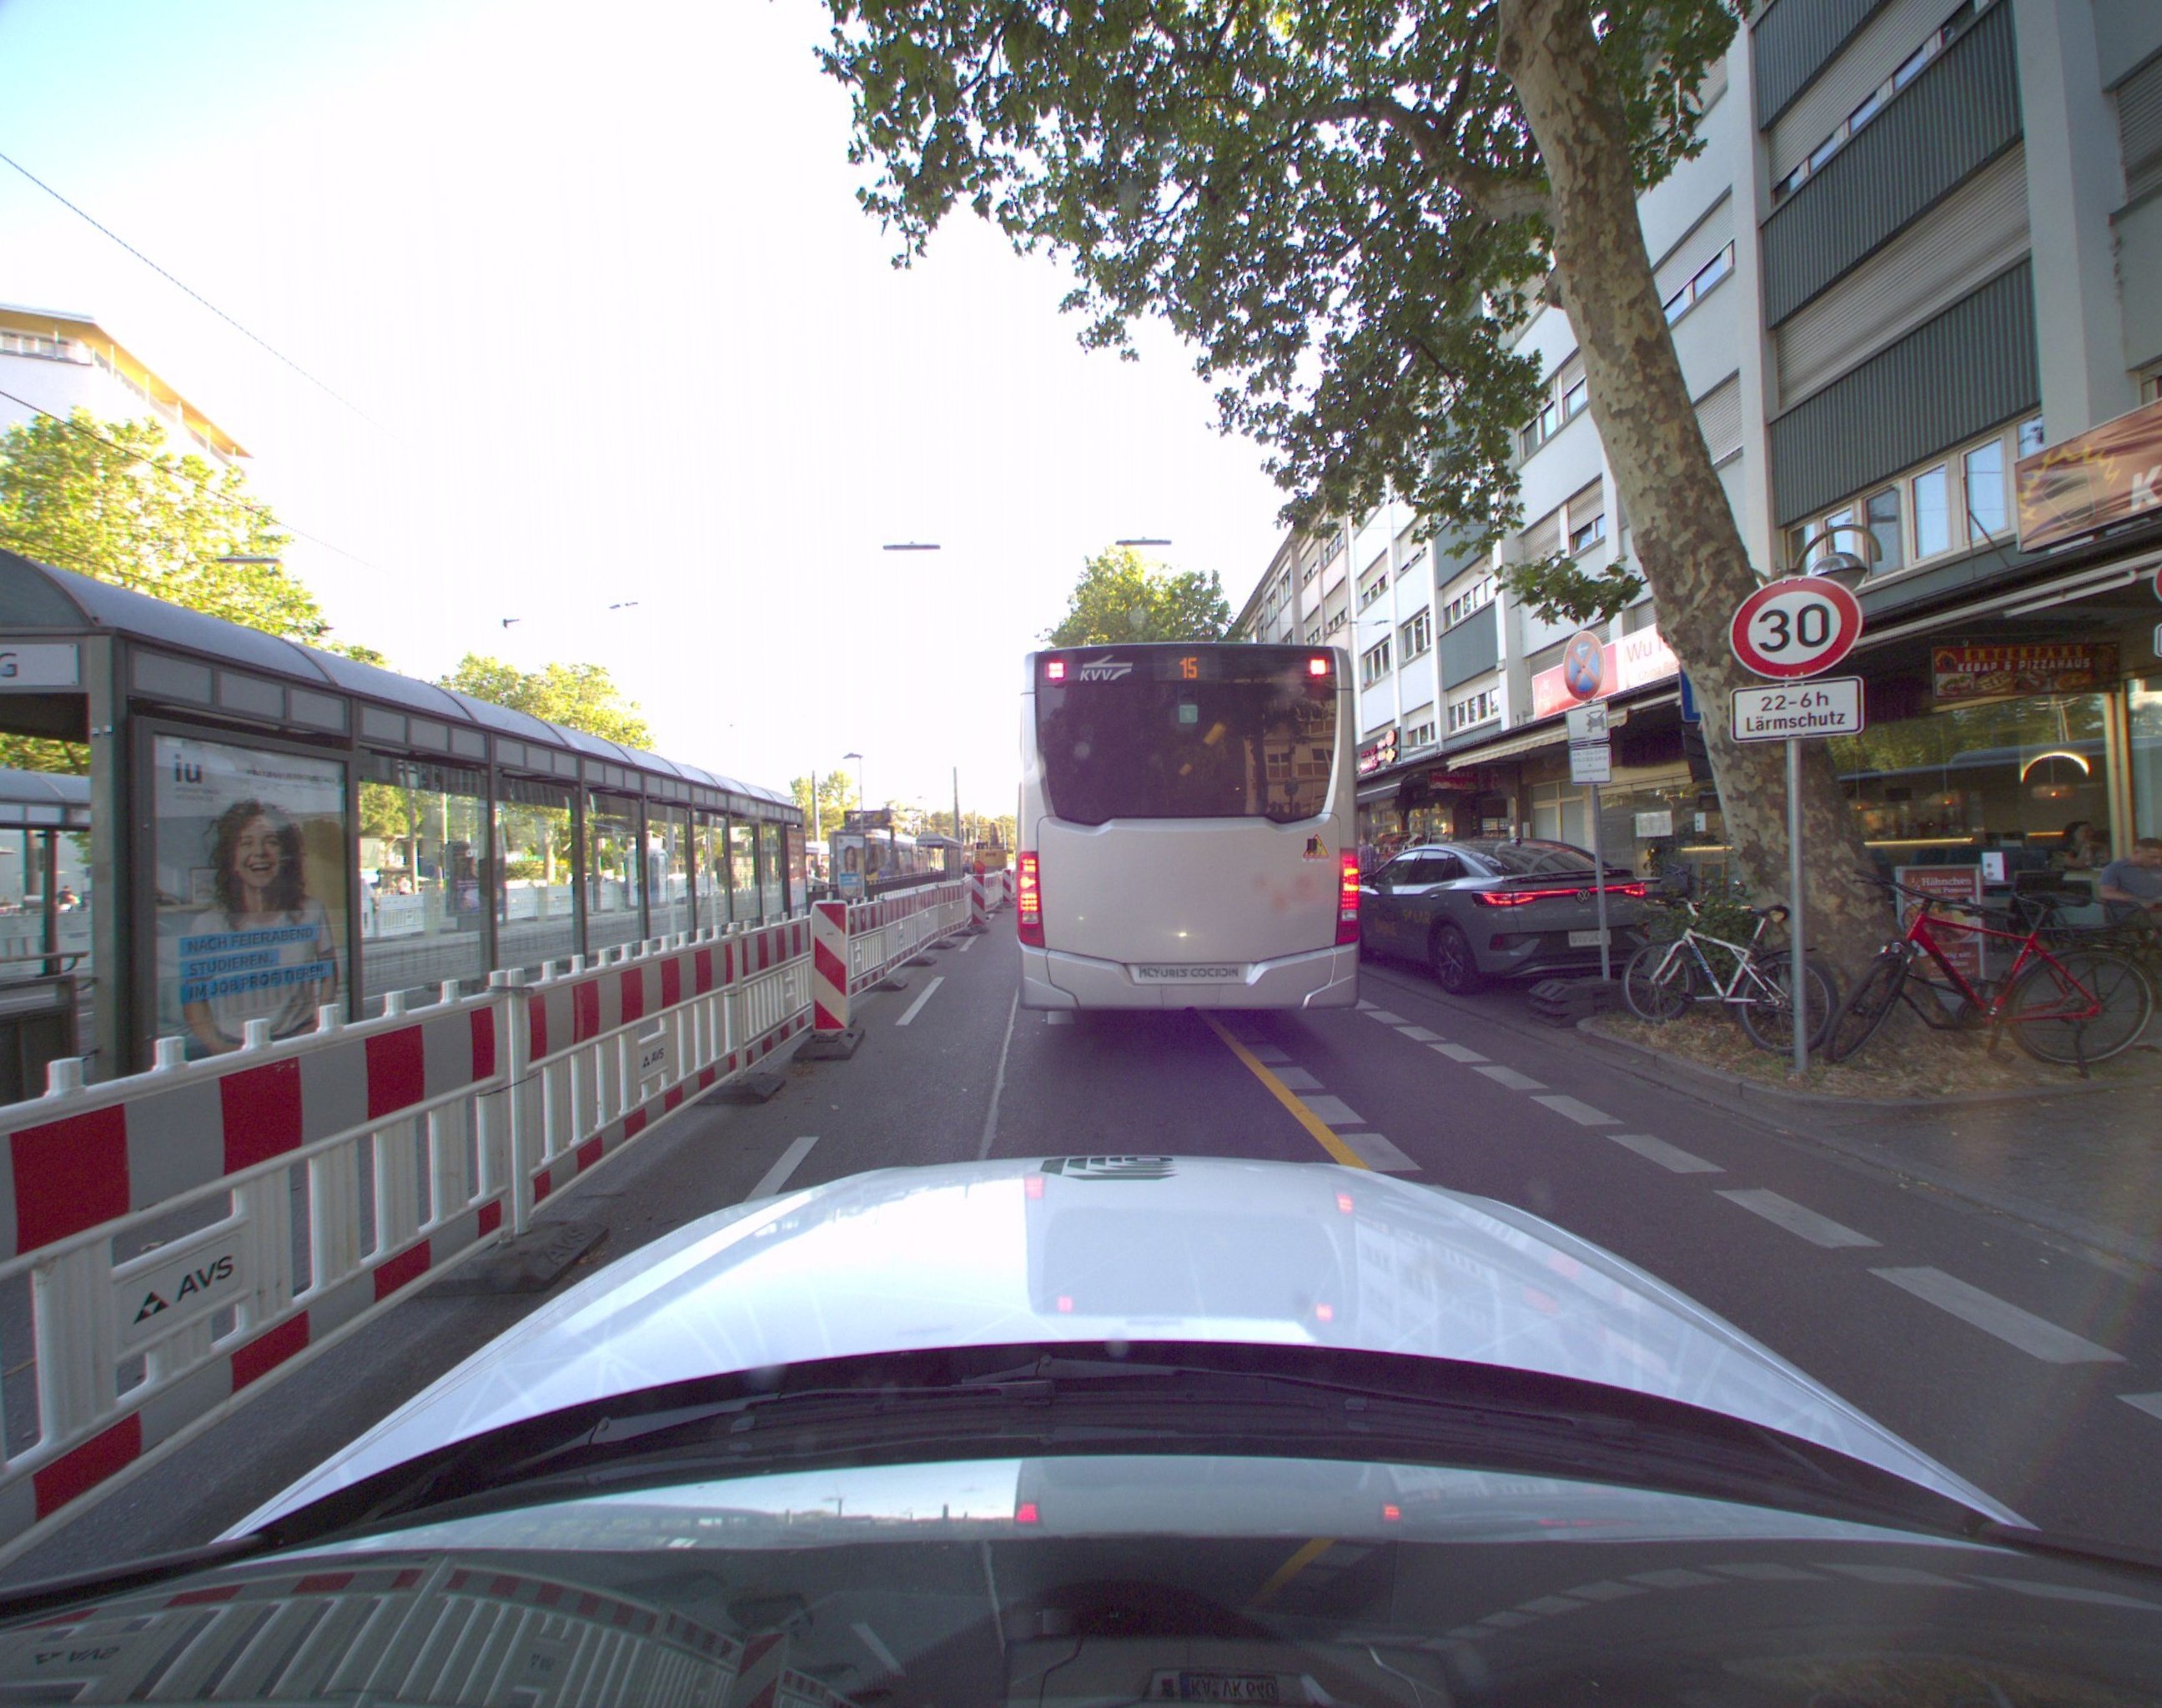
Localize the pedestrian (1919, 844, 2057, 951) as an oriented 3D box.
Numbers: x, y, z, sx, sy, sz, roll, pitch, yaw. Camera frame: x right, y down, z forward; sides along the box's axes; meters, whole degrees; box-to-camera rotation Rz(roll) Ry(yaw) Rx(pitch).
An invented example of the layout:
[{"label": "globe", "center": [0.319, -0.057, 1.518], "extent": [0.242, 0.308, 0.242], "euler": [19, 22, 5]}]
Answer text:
[{"label": "pedestrian", "center": [9.865, 0.449, 8.872], "extent": [0.643, 1.081, 0.945], "euler": [-2, -1, -39]}]

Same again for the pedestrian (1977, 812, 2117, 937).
[{"label": "pedestrian", "center": [11.071, 0.224, 9.351], "extent": [0.836, 1.333, 0.963], "euler": [-2, -1, -39]}]

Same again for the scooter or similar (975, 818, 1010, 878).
[{"label": "scooter or similar", "center": [-7.006, -0.448, 64.836], "extent": [2.465, 4.471, 5.961], "euler": [-2, -1, -5]}]

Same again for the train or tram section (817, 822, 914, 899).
[{"label": "train or tram section", "center": [-11.099, 0.334, 43.296], "extent": [2.681, 3.534, 11.756], "euler": [0, -1, -3]}]

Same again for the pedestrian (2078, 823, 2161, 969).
[{"label": "pedestrian", "center": [9.687, 0.358, 7.312], "extent": [0.555, 1.245, 0.692], "euler": [-4, 0, 8]}]

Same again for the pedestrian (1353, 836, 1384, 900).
[{"label": "pedestrian", "center": [7.756, 0.363, 21.987], "extent": [0.658, 1.666, 0.603], "euler": [-4, -1, 18]}]

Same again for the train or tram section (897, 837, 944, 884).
[{"label": "train or tram section", "center": [-12.914, 0.527, 66.437], "extent": [2.683, 3.533, 11.558], "euler": [0, -1, -6]}]

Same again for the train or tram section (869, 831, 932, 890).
[{"label": "train or tram section", "center": [-11.959, 0.429, 54.933], "extent": [2.682, 3.558, 11.559], "euler": [0, -1, -5]}]

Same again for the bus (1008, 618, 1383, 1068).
[{"label": "bus", "center": [0.923, -0.051, 9.672], "extent": [2.601, 3.126, 7.996], "euler": [0, 0, 2]}]

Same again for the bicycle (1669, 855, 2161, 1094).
[{"label": "bicycle", "center": [5.062, 0.721, 4.863], "extent": [2.370, 1.155, 0.557], "euler": [-7, -2, 14]}]

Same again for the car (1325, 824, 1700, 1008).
[{"label": "car", "center": [4.717, 0.574, 9.824], "extent": [1.989, 1.582, 4.364], "euler": [-4, 0, -3]}]

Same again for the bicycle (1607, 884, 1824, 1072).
[{"label": "bicycle", "center": [4.579, 0.835, 6.005], "extent": [0.550, 1.155, 1.446], "euler": [-2, -1, 6]}]

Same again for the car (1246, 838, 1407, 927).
[{"label": "car", "center": [5.215, 0.554, 18.003], "extent": [1.989, 1.582, 4.364], "euler": [-4, 0, -3]}]
